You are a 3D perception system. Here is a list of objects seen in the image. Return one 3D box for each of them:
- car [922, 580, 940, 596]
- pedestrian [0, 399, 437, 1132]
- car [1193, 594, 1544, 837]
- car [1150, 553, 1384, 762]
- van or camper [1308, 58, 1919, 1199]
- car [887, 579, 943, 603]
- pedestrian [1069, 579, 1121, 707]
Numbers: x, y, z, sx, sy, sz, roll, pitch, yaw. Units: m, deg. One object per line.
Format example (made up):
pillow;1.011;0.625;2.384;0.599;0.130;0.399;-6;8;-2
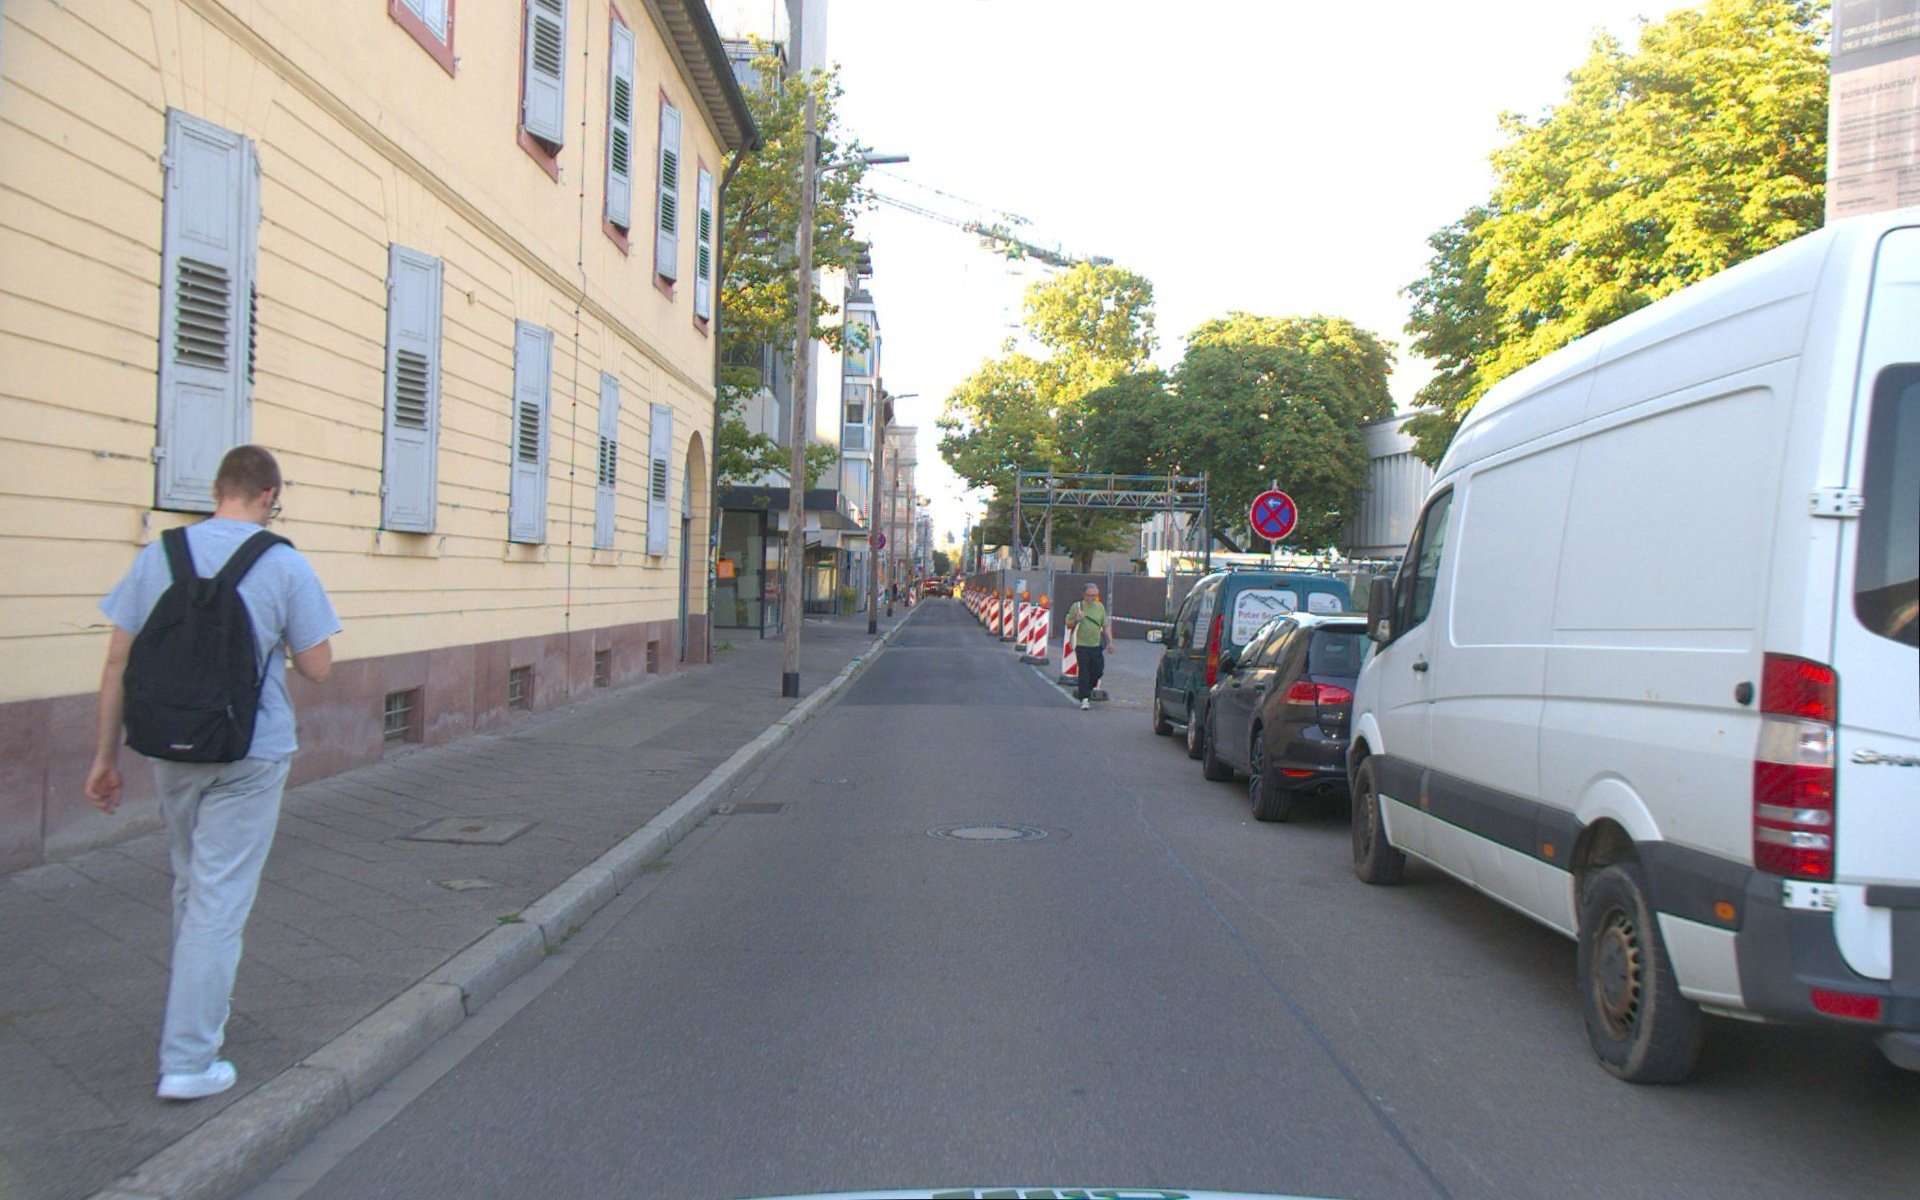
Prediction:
car;-3.165;-1.334;180.968;1.821;1.691;4.000;2;0;-1
pedestrian;-2.013;0.395;4.449;0.858;1.754;0.830;2;0;3
car;2.923;0.741;12.717;1.657;1.485;4.099;2;1;0
car;3.080;0.519;17.361;1.678;1.881;4.022;2;0;0
van or camper;3.197;0.138;7.171;2.034;2.823;6.450;2;0;1
car;-2.984;-0.597;109.366;3.668;1.485;1.697;2;0;-3
pedestrian;1.800;0.562;22.087;0.601;1.657;0.818;2;0;2
